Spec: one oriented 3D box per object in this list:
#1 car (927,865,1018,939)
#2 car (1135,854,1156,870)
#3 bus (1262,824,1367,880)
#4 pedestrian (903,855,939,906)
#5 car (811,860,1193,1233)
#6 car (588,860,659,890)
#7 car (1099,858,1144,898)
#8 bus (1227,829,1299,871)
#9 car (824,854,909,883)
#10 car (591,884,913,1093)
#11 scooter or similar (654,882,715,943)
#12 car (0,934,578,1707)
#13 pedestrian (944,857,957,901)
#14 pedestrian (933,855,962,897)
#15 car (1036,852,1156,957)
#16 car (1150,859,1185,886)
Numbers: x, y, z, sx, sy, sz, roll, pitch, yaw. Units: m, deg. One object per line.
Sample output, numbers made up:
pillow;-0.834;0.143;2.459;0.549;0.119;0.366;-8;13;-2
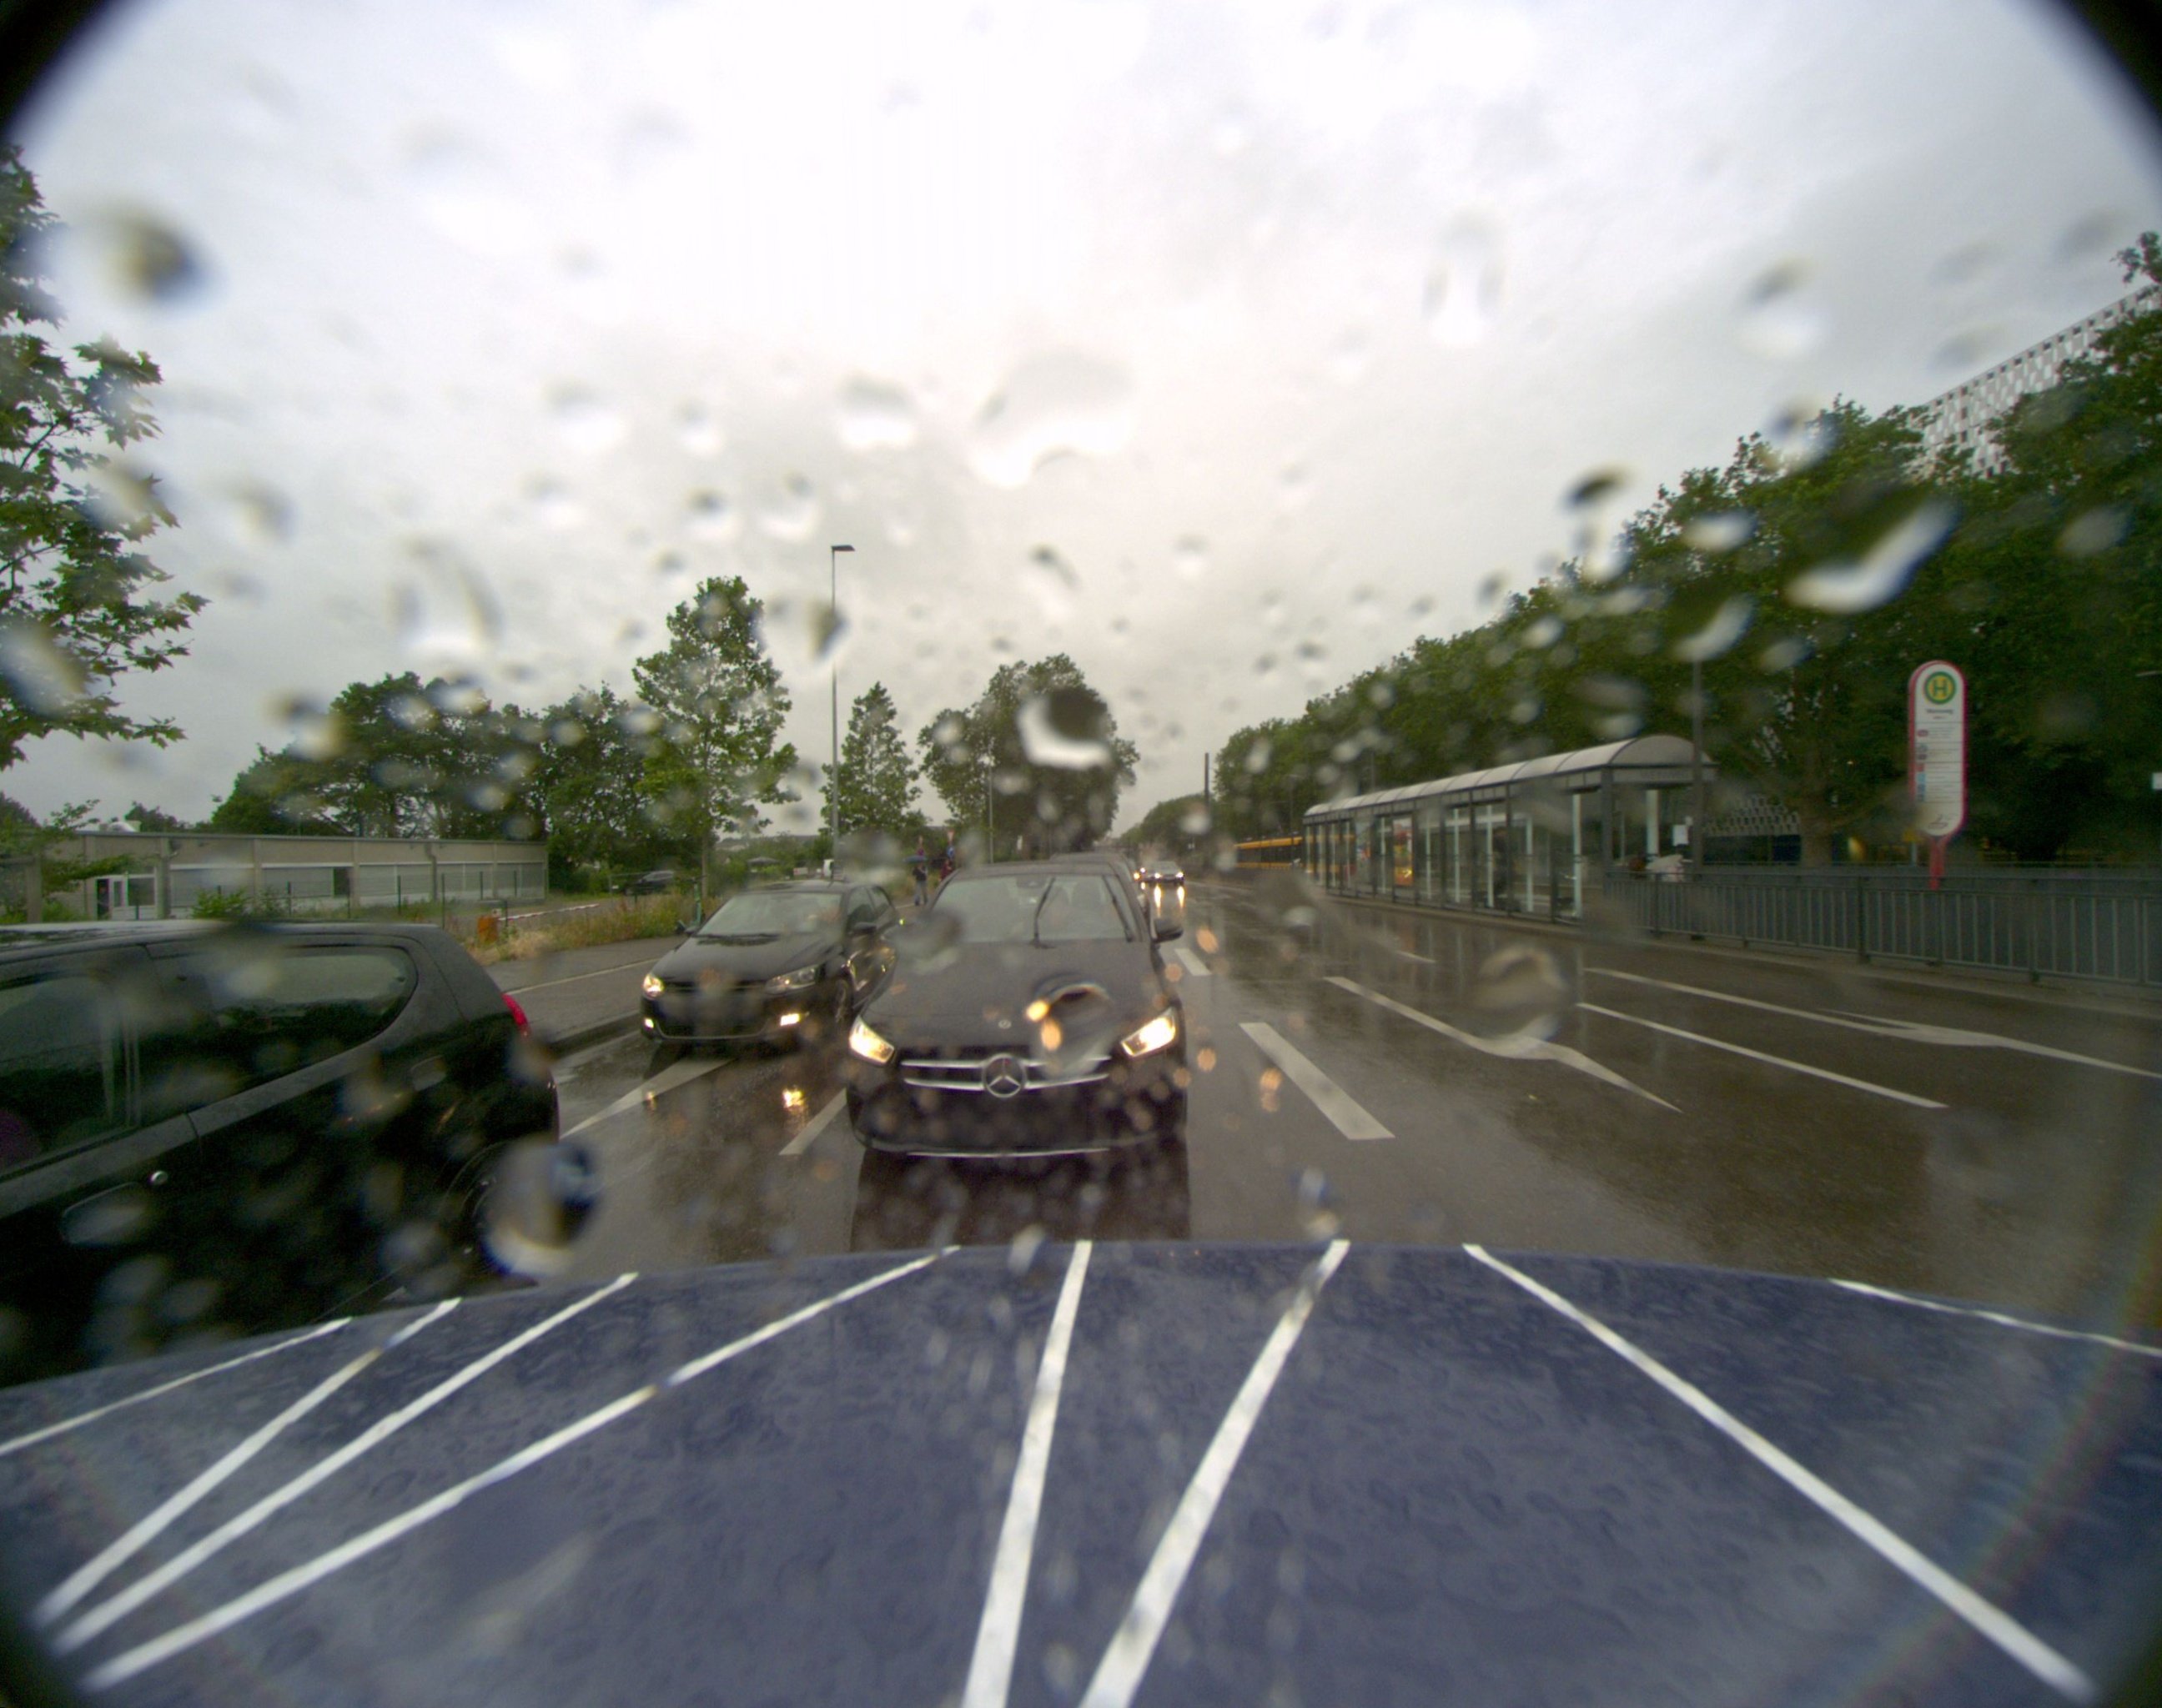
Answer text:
car;-2.703;1.157;19.683;1.698;1.565;3.813;-2;1;1
car;6.302;0.767;74.878;1.775;1.492;4.597;-2;1;2
bus;16.249;-0.204;54.523;2.938;3.310;15.061;-2;1;0
pedestrian;-5.595;0.915;26.605;1.082;1.746;0.969;0;1;0
car;-0.334;0.908;5.567;1.690;1.578;4.163;-2;1;1
car;-33.966;1.513;56.521;3.996;2.002;2.000;-2;1;2
car;1.815;1.042;35.066;1.794;1.597;3.999;-2;1;0
bus;16.352;-0.404;69.721;2.938;3.310;15.061;-2;1;0
car;-13.499;0.892;48.050;4.759;1.640;1.999;-2;1;-2
car;-2.937;1.112;7.674;1.633;1.420;3.624;-2;0;0
scooter or similar;-8.211;1.182;15.811;0.381;1.123;1.777;0;1;-1
car;-3.010;1.079;1.459;1.633;1.420;3.624;-2;0;0
pedestrian;-4.886;0.932;28.426;0.401;1.652;0.441;1;1;0
pedestrian;-5.581;0.908;31.729;1.025;1.698;0.891;1;1;0
car;0.203;0.722;12.524;1.633;1.420;3.624;-2;0;0
car;5.239;1.091;46.351;1.766;1.390;4.645;-2;0;2
